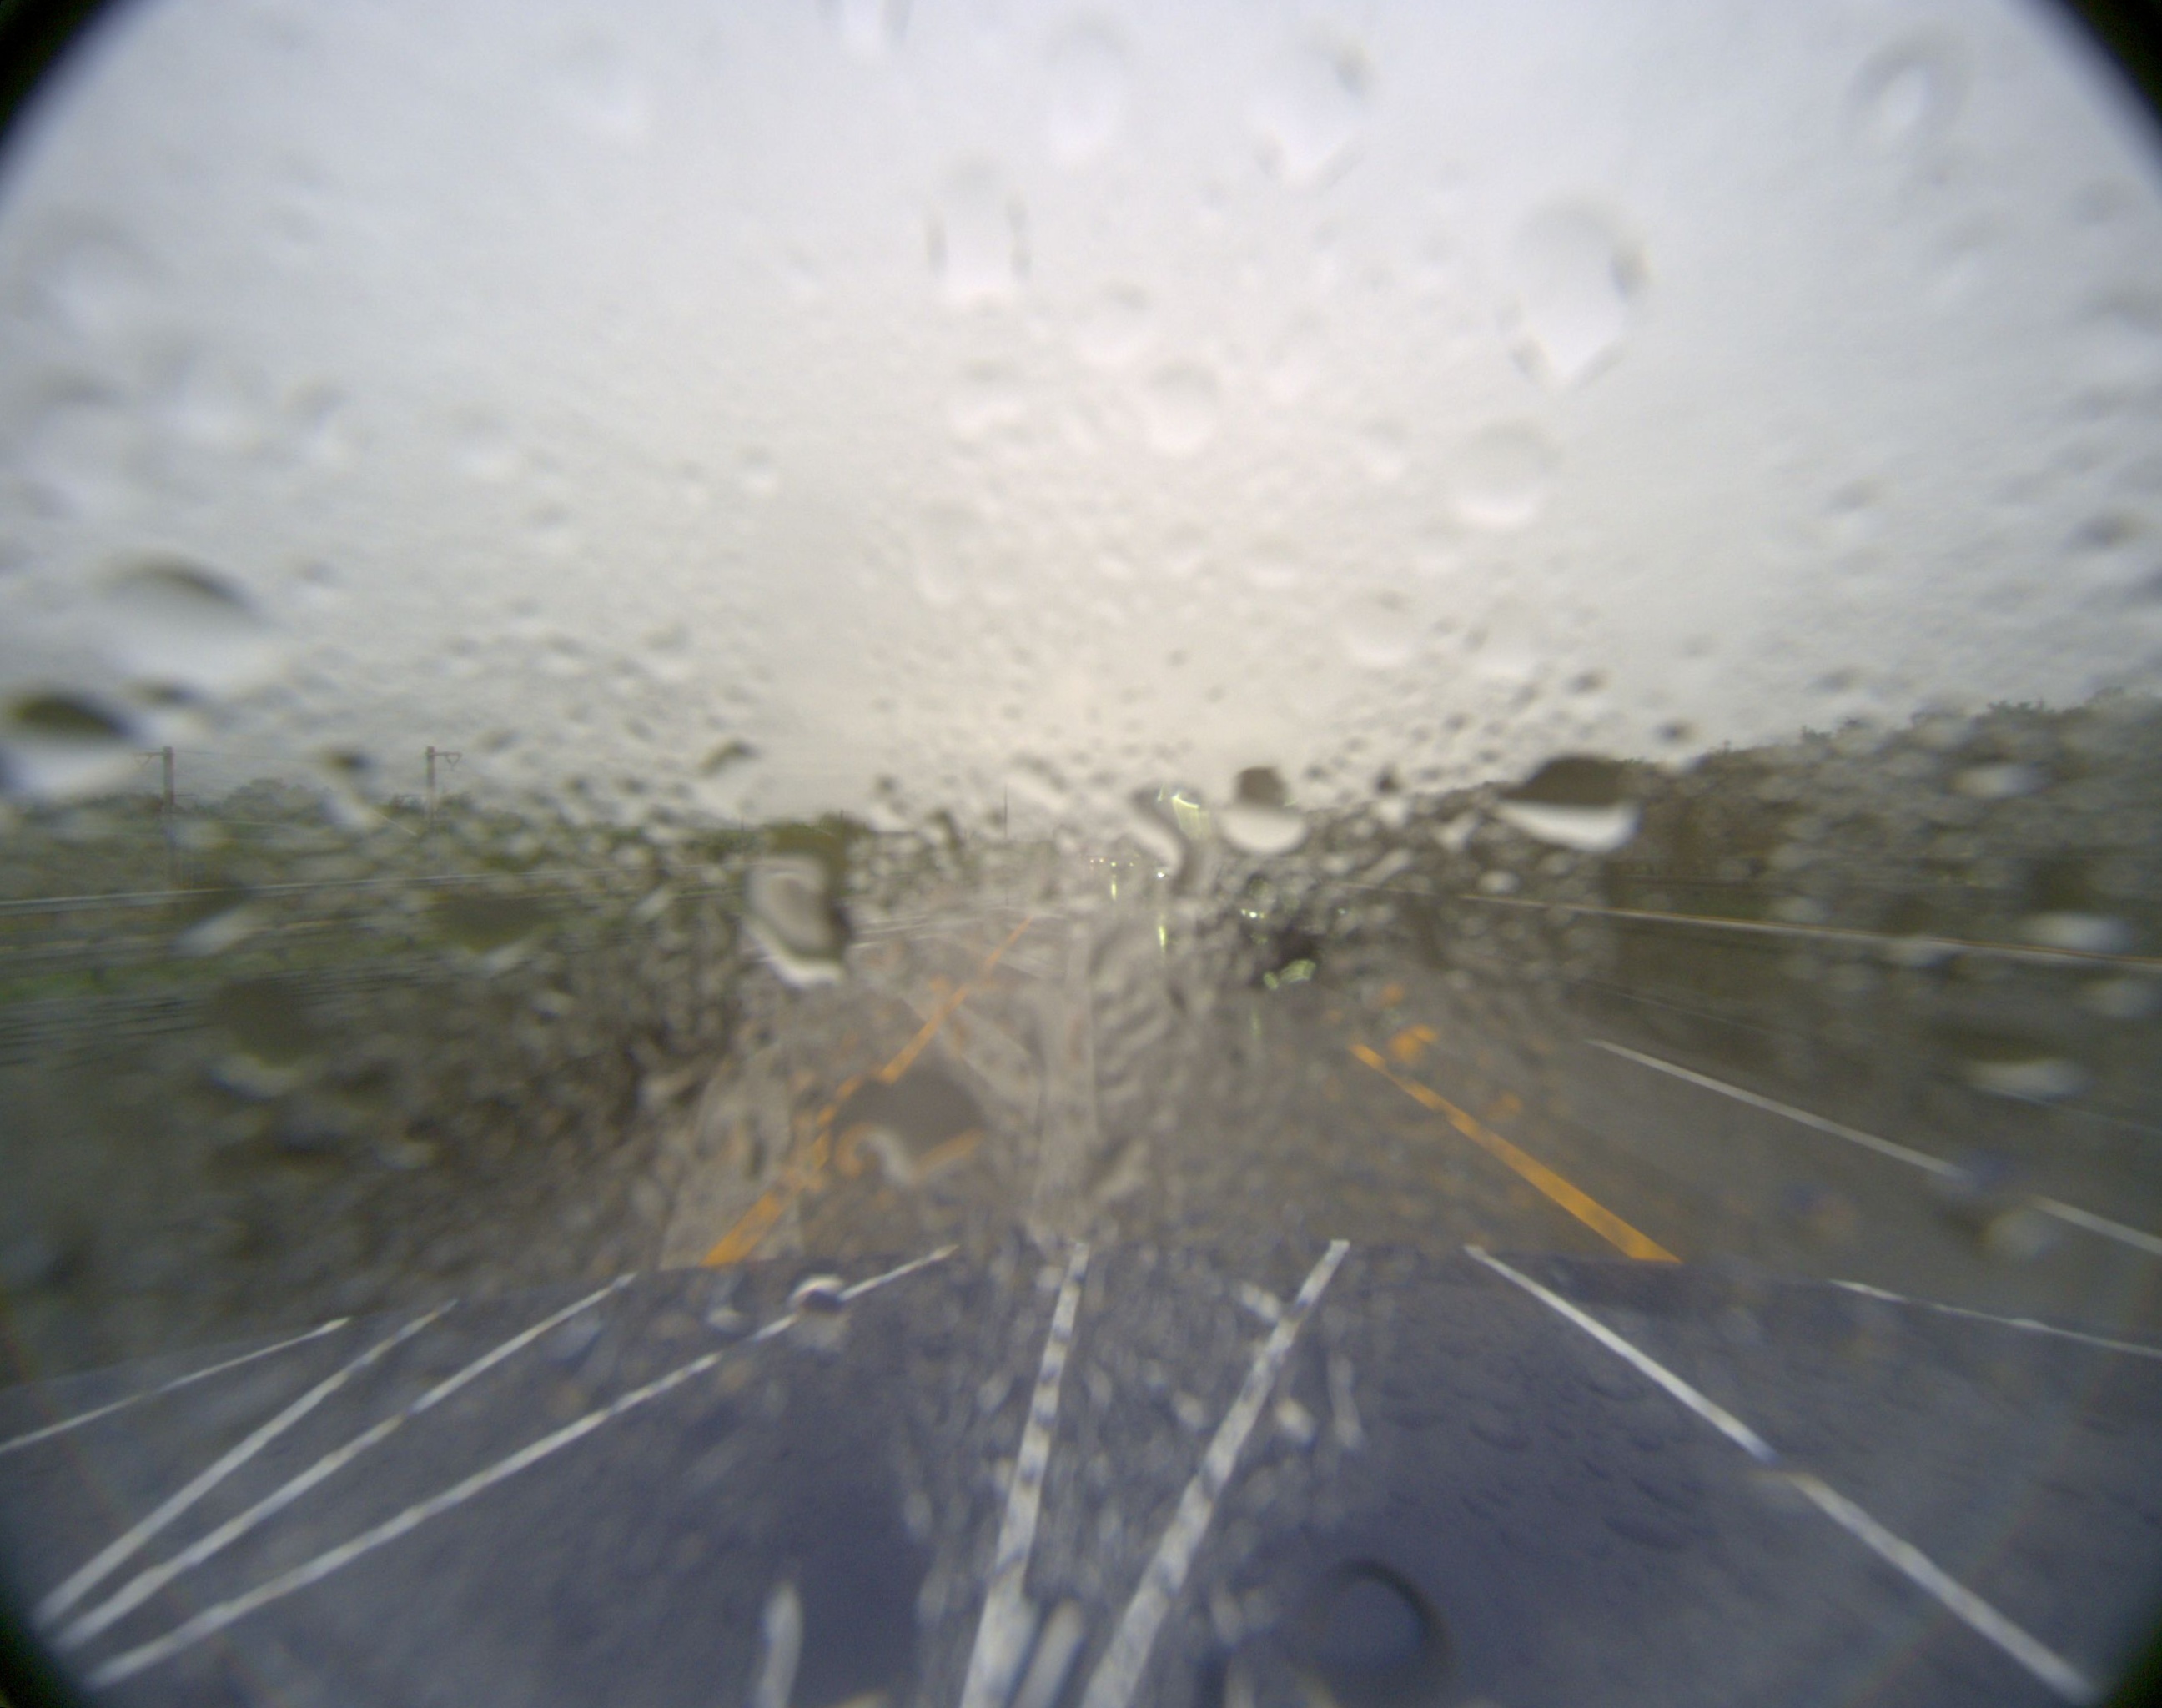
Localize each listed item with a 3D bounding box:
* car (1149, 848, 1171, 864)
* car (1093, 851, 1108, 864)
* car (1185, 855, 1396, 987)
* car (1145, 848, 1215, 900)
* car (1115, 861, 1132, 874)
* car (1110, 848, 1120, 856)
[{"bbox_3d":[7.812,0.167,75.447,1.765,1.519,4.950,-2,1,1],"label":"car"},{"bbox_3d":[2.867,0.445,111.609,1.998,1.761,3.999,-2,1,0],"label":"car"},{"bbox_3d":[2.939,0.834,11.842,1.944,1.519,4.795,-2,1,0],"label":"car"},{"bbox_3d":[3.488,0.646,27.385,1.971,1.670,3.999,-2,1,0],"label":"car"},{"bbox_3d":[3.686,1.168,65.657,1.335,1.105,3.199,1,-1,1],"label":"car"},{"bbox_3d":[6.722,-0.408,150.108,1.765,1.452,4.696,-2,1,0],"label":"car"}]
